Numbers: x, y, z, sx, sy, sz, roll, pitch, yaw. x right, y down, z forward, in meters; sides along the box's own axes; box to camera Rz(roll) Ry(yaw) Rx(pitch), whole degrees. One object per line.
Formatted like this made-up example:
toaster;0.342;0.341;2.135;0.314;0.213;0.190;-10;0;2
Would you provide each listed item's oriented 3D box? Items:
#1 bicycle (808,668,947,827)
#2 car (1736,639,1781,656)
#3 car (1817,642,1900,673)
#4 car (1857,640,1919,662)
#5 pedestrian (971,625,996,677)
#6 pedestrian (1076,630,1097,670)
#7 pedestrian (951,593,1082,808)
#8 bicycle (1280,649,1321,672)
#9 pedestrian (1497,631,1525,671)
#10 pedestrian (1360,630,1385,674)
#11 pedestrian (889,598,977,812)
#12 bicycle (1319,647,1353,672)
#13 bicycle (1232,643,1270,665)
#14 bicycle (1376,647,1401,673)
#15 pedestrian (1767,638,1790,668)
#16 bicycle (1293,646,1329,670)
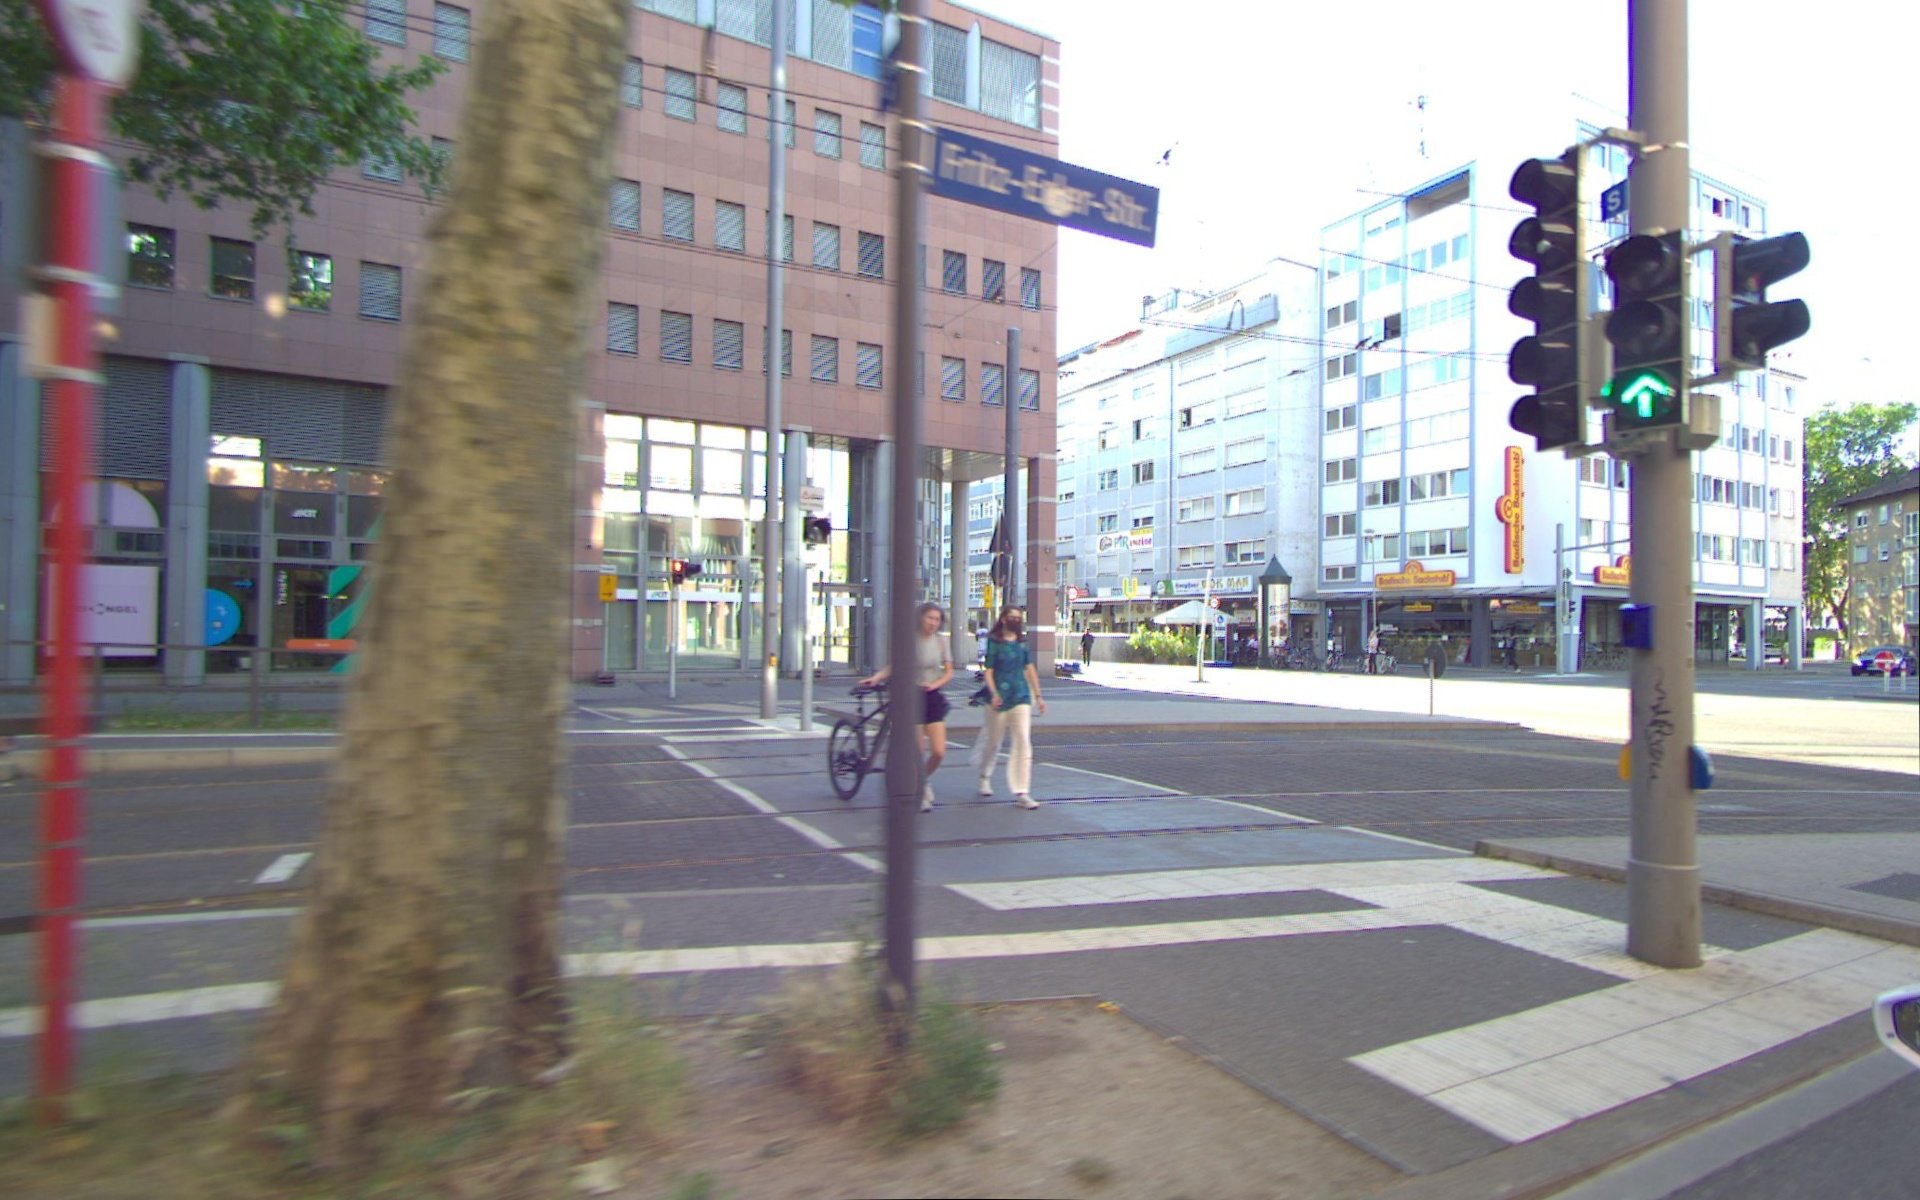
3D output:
bicycle;-0.728;1.139;8.274;0.475;1.093;1.822;1;-2;-27
car;76.577;4.547;96.423;1.999;1.524;4.096;0;-2;16
car;43.249;2.765;48.324;4.545;1.404;1.823;2;-2;-32
car;63.274;3.441;68.120;1.890;1.407;4.003;1;-2;13
pedestrian;0.756;1.602;31.726;0.708;1.639;0.642;1;-2;7
pedestrian;5.454;2.167;43.390;0.866;1.687;0.908;1;-2;7
pedestrian;0.489;0.839;8.752;0.839;1.757;0.773;2;-2;-32
bicycle;16.006;2.842;47.213;1.979;1.067;0.593;1;-1;-25
pedestrian;24.188;2.227;44.090;0.766;1.747;0.802;2;-1;-28
pedestrian;17.297;2.163;42.137;0.775;1.815;0.626;1;-2;-28
pedestrian;-0.231;0.849;8.369;0.524;1.702;0.564;1;-2;-27
bicycle;17.022;2.696;45.449;1.991;1.067;0.589;2;-2;-42
bicycle;14.638;2.723;50.517;1.818;1.067;0.594;1;-1;-21
bicycle;18.623;2.578;43.683;0.587;1.067;1.999;0;-2;36
pedestrian;48.023;3.092;58.929;0.791;1.747;0.777;1;-1;13
bicycle;16.103;2.662;46.073;1.988;1.067;0.590;1;-1;-38
